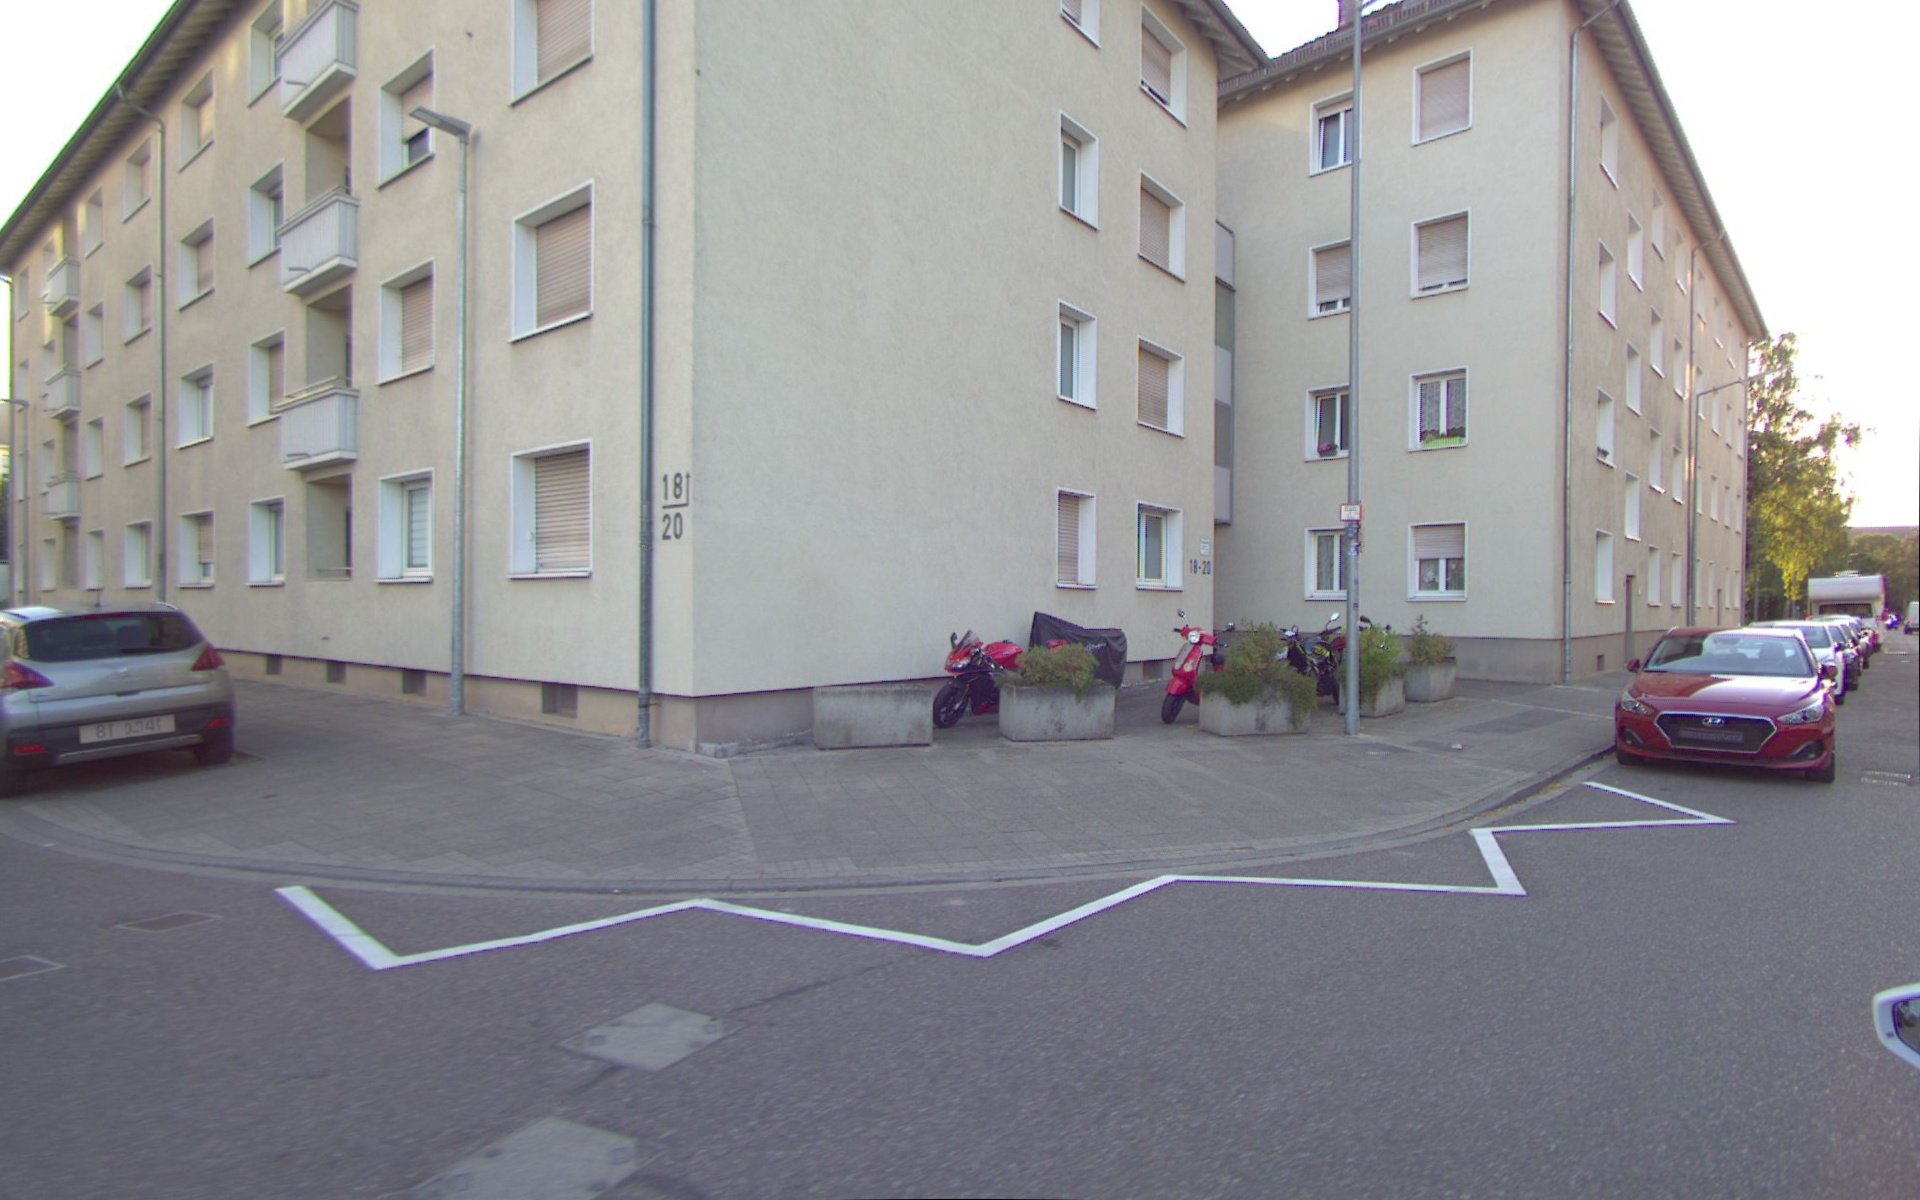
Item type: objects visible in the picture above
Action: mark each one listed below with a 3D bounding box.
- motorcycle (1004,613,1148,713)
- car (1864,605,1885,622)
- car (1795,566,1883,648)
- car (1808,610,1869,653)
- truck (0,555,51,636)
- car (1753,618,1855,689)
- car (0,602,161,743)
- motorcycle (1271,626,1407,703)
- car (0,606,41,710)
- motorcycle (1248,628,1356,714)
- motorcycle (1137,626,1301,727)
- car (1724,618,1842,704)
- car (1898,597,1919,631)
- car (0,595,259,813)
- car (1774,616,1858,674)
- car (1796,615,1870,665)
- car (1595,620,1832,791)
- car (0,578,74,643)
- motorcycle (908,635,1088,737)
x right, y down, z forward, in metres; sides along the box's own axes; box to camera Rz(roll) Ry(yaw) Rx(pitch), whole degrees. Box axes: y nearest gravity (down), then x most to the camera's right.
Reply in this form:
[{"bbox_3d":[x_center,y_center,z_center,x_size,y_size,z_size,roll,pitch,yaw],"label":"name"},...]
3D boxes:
[{"bbox_3d":[1.630,0.829,13.892,2.061,1.281,0.718,0,0,-37],"label":"motorcycle"},{"bbox_3d":[102.031,1.514,112.072,1.634,1.854,3.856,-2,-2,41],"label":"car"},{"bbox_3d":[38.501,0.343,43.896,2.592,3.312,7.652,-2,-2,43],"label":"car"},{"bbox_3d":[33.731,1.201,38.527,1.635,1.562,3.854,-2,-2,43],"label":"car"},{"bbox_3d":[-35.235,0.002,34.157,2.302,2.759,5.974,0,4,38],"label":"truck"},{"bbox_3d":[19.377,1.167,23.043,1.640,1.453,4.010,-2,-2,41],"label":"car"},{"bbox_3d":[-12.390,0.864,13.125,3.952,1.521,1.874,-1,4,34],"label":"car"},{"bbox_3d":[6.068,1.007,16.218,0.555,1.120,2.109,0,0,-35],"label":"motorcycle"},{"bbox_3d":[-15.980,0.915,15.582,3.887,1.504,1.872,0,4,38],"label":"car"},{"bbox_3d":[4.905,0.973,14.323,0.675,1.093,2.022,0,0,44],"label":"motorcycle"},{"bbox_3d":[3.275,0.926,12.664,2.005,1.176,0.687,0,0,-23],"label":"motorcycle"},{"bbox_3d":[15.897,1.110,19.363,1.597,1.493,3.487,-2,-2,41],"label":"car"},{"bbox_3d":[79.170,1.122,83.050,2.105,2.753,4.808,-2,-2,41],"label":"car"},{"bbox_3d":[-8.799,0.846,9.979,3.957,1.640,1.872,0,4,38],"label":"car"},{"bbox_3d":[23.561,1.196,27.637,1.634,1.453,3.776,-2,-2,41],"label":"car"},{"bbox_3d":[27.164,1.216,31.280,1.634,1.453,3.856,-2,-2,41],"label":"car"},{"bbox_3d":[8.472,0.990,11.151,1.824,1.493,4.057,0,-1,41],"label":"car"},{"bbox_3d":[-31.552,0.436,31.697,2.302,1.939,4.979,0,4,38],"label":"car"},{"bbox_3d":[0.463,0.977,11.923,2.054,1.093,0.721,0,0,-27],"label":"motorcycle"}]
